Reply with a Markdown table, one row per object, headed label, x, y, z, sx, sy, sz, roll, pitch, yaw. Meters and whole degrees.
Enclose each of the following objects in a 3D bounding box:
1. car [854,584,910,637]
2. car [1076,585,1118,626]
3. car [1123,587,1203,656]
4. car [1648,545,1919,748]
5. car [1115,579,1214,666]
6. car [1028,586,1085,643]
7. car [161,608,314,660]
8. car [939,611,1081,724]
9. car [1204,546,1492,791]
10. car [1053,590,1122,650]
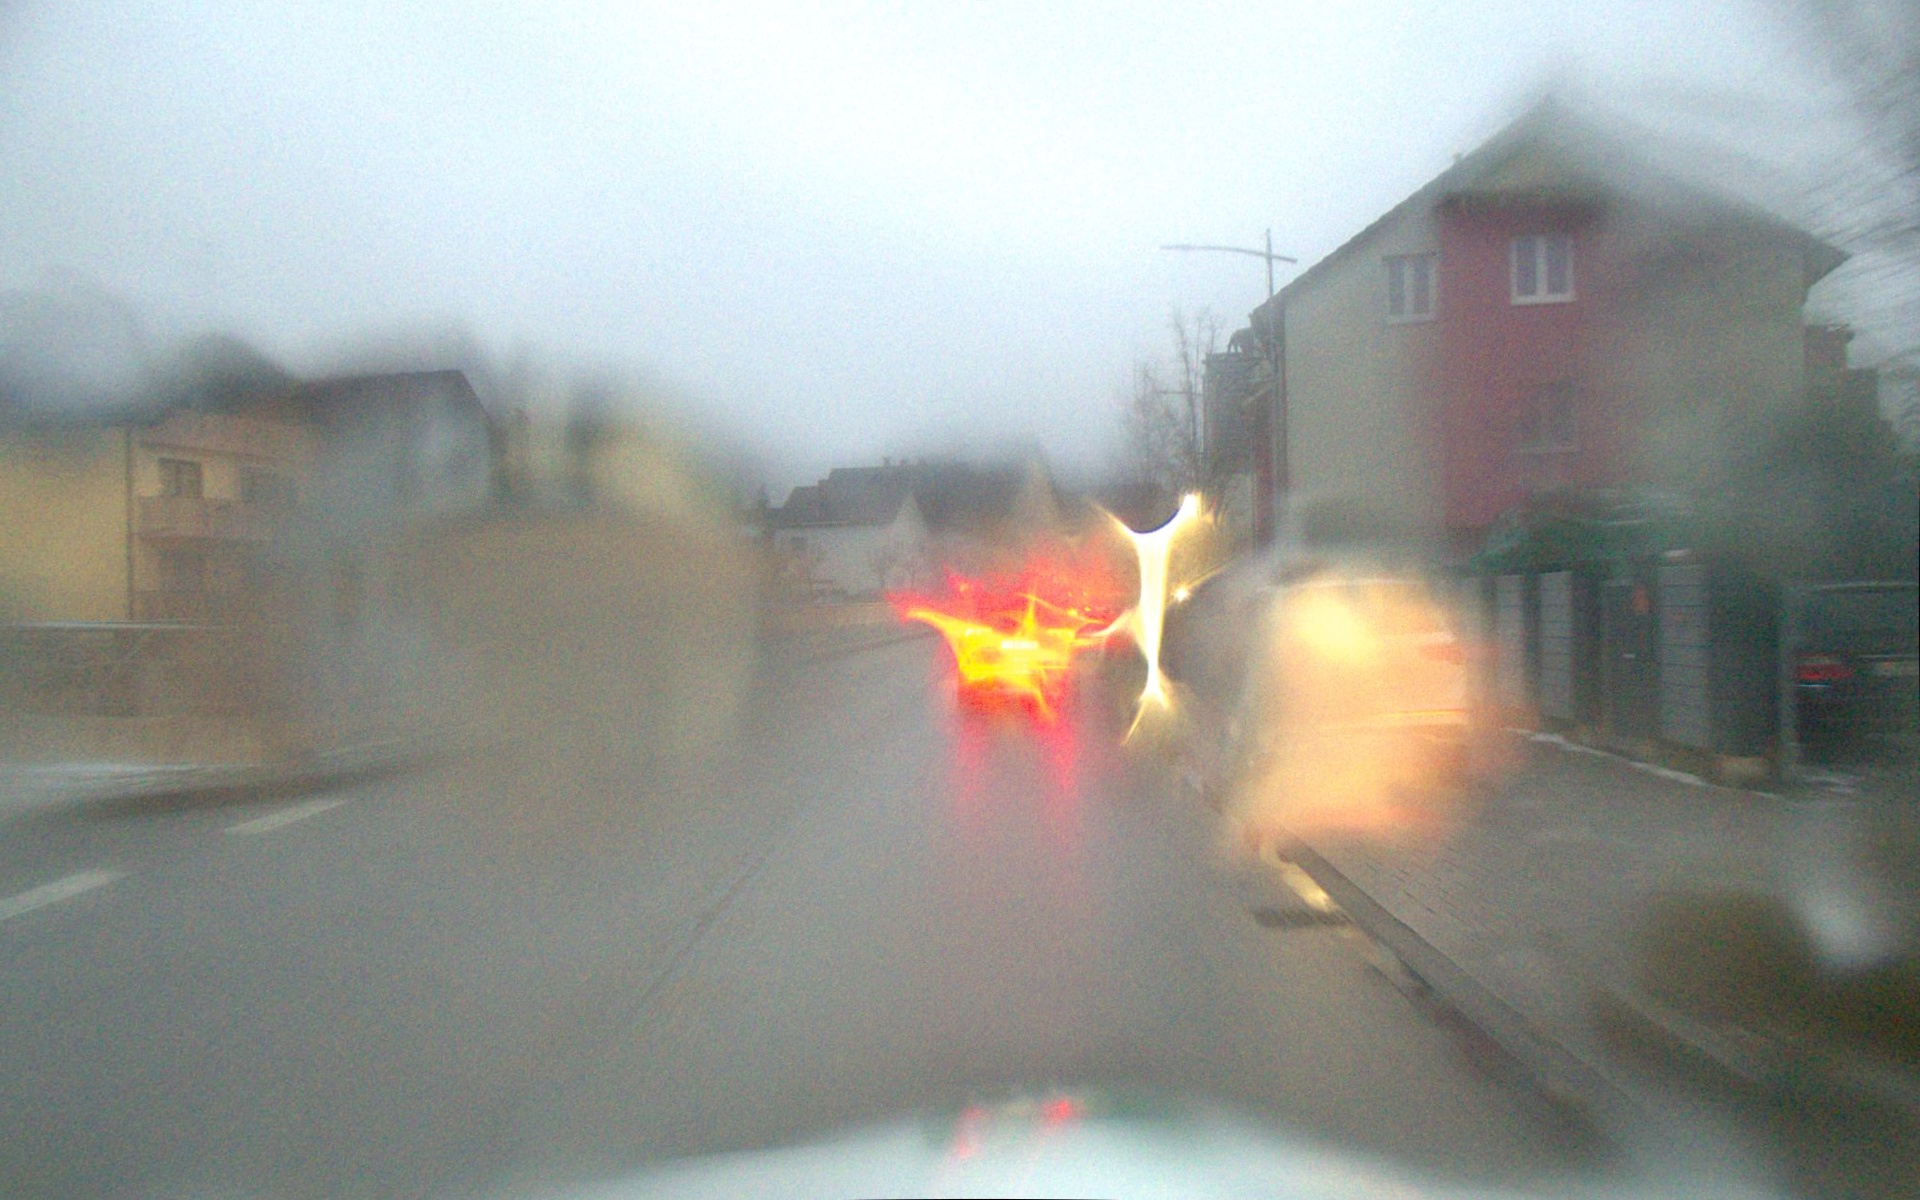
| label | x | y | z | sx | sy | sz | roll | pitch | yaw |
| --- | --- | --- | --- | --- | --- | --- | --- | --- | --- |
| car | -3.097 | 0.439 | 66.410 | 1.952 | 2.049 | 4.001 | 0 | -1 | 2 |
| car | 7.143 | 0.320 | 85.853 | 1.951 | 2.049 | 4.003 | 0 | -1 | 8 |
| car | 5.348 | 0.542 | 43.235 | 1.951 | 1.699 | 4.003 | 0 | 0 | 9 |
| car | 7.941 | 0.344 | 15.344 | 1.927 | 1.610 | 4.340 | -1 | 0 | 10 |
| car | 4.389 | 0.480 | 35.144 | 1.951 | 1.699 | 4.003 | 1 | -1 | 8 |
| car | 3.617 | 0.547 | 61.478 | 1.951 | 2.049 | 4.002 | 0 | -1 | 6 |
| car | -20.055 | 0.917 | 46.105 | 1.951 | 1.330 | 4.116 | 1 | 0 | 10 |
| car | 0.794 | 0.945 | 24.853 | 1.952 | 1.552 | 4.001 | 0 | 0 | 3 |
| car | 3.329 | 0.512 | 14.999 | 1.709 | 1.816 | 4.337 | -3 | 0 | 3 |
| car | 3.849 | 0.579 | 49.808 | 1.951 | 1.709 | 4.002 | 1 | 0 | 5 |
